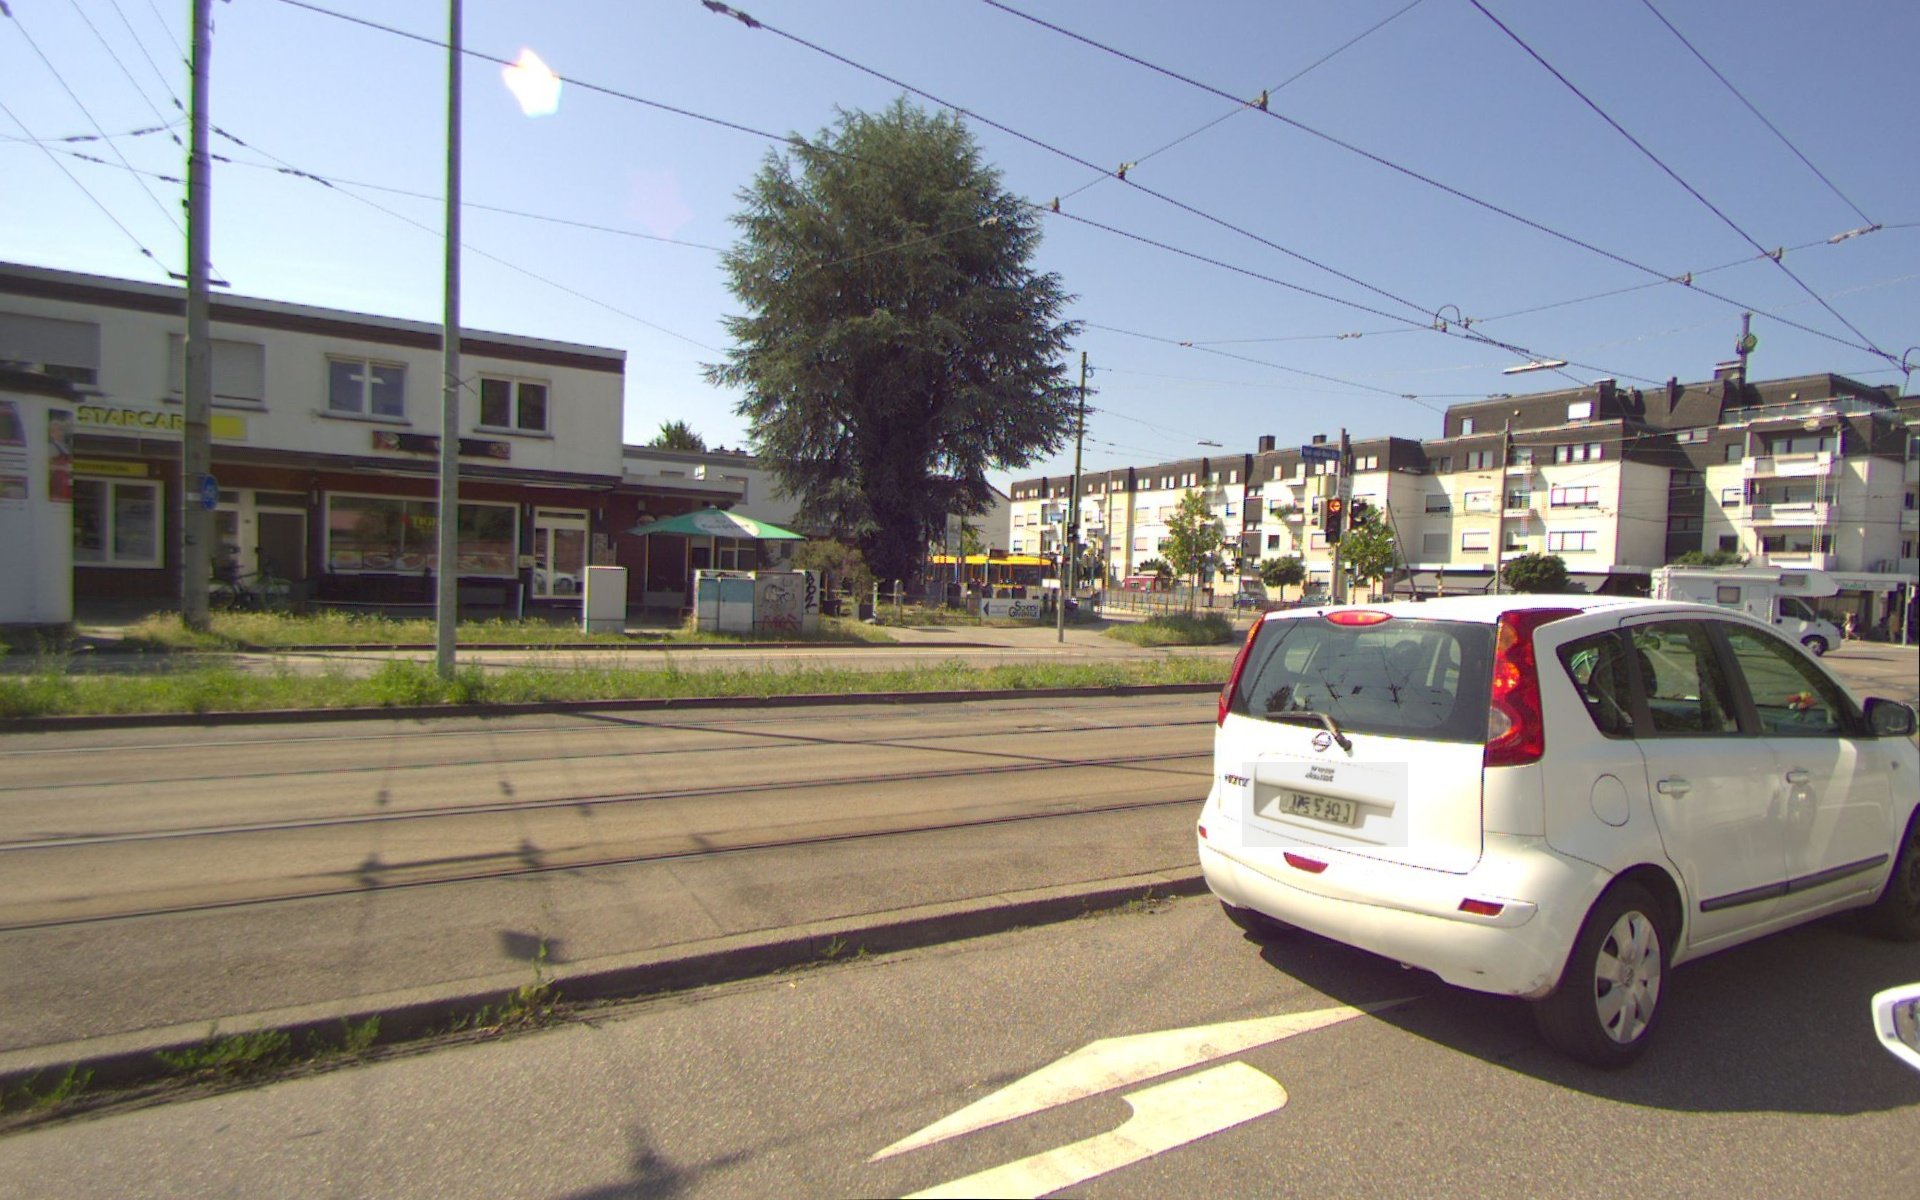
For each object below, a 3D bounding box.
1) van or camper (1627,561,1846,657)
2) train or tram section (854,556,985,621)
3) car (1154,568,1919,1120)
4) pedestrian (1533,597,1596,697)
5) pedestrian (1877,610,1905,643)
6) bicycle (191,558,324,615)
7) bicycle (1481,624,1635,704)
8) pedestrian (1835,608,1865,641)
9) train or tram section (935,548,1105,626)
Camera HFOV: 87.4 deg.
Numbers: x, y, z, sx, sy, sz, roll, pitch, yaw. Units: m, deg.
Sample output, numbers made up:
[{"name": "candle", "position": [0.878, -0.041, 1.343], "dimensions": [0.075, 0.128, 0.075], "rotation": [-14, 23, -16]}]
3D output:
[{"name": "van or camper", "position": [27.161, 0.278, 35.468], "dimensions": [5.594, 3.133, 2.574], "rotation": [2, -1, 25]}, {"name": "train or tram section", "position": [-4.053, -0.923, 90.861], "dimensions": [4.681, 5.217, 16.122], "rotation": [2, -1, -30]}, {"name": "car", "position": [2.854, 0.710, 4.552], "dimensions": [3.759, 1.587, 1.634], "rotation": [0, 0, -31]}, {"name": "pedestrian", "position": [10.001, 0.758, 16.618], "dimensions": [0.671, 1.593, 0.738], "rotation": [0, 1, -45]}, {"name": "pedestrian", "position": [52.028, 1.489, 56.143], "dimensions": [0.957, 1.766, 0.863], "rotation": [1, -1, 28]}, {"name": "bicycle", "position": [-15.516, -0.284, 22.269], "dimensions": [2.306, 1.167, 0.783], "rotation": [2, -1, -30]}, {"name": "bicycle", "position": [9.633, 0.997, 16.239], "dimensions": [0.705, 1.105, 1.999], "rotation": [0, 2, -44]}, {"name": "pedestrian", "position": [49.135, 1.368, 55.472], "dimensions": [0.955, 1.766, 0.865], "rotation": [2, -1, 17]}, {"name": "train or tram section", "position": [4.103, -0.893, 76.946], "dimensions": [4.681, 5.217, 16.122], "rotation": [2, -1, -30]}]
